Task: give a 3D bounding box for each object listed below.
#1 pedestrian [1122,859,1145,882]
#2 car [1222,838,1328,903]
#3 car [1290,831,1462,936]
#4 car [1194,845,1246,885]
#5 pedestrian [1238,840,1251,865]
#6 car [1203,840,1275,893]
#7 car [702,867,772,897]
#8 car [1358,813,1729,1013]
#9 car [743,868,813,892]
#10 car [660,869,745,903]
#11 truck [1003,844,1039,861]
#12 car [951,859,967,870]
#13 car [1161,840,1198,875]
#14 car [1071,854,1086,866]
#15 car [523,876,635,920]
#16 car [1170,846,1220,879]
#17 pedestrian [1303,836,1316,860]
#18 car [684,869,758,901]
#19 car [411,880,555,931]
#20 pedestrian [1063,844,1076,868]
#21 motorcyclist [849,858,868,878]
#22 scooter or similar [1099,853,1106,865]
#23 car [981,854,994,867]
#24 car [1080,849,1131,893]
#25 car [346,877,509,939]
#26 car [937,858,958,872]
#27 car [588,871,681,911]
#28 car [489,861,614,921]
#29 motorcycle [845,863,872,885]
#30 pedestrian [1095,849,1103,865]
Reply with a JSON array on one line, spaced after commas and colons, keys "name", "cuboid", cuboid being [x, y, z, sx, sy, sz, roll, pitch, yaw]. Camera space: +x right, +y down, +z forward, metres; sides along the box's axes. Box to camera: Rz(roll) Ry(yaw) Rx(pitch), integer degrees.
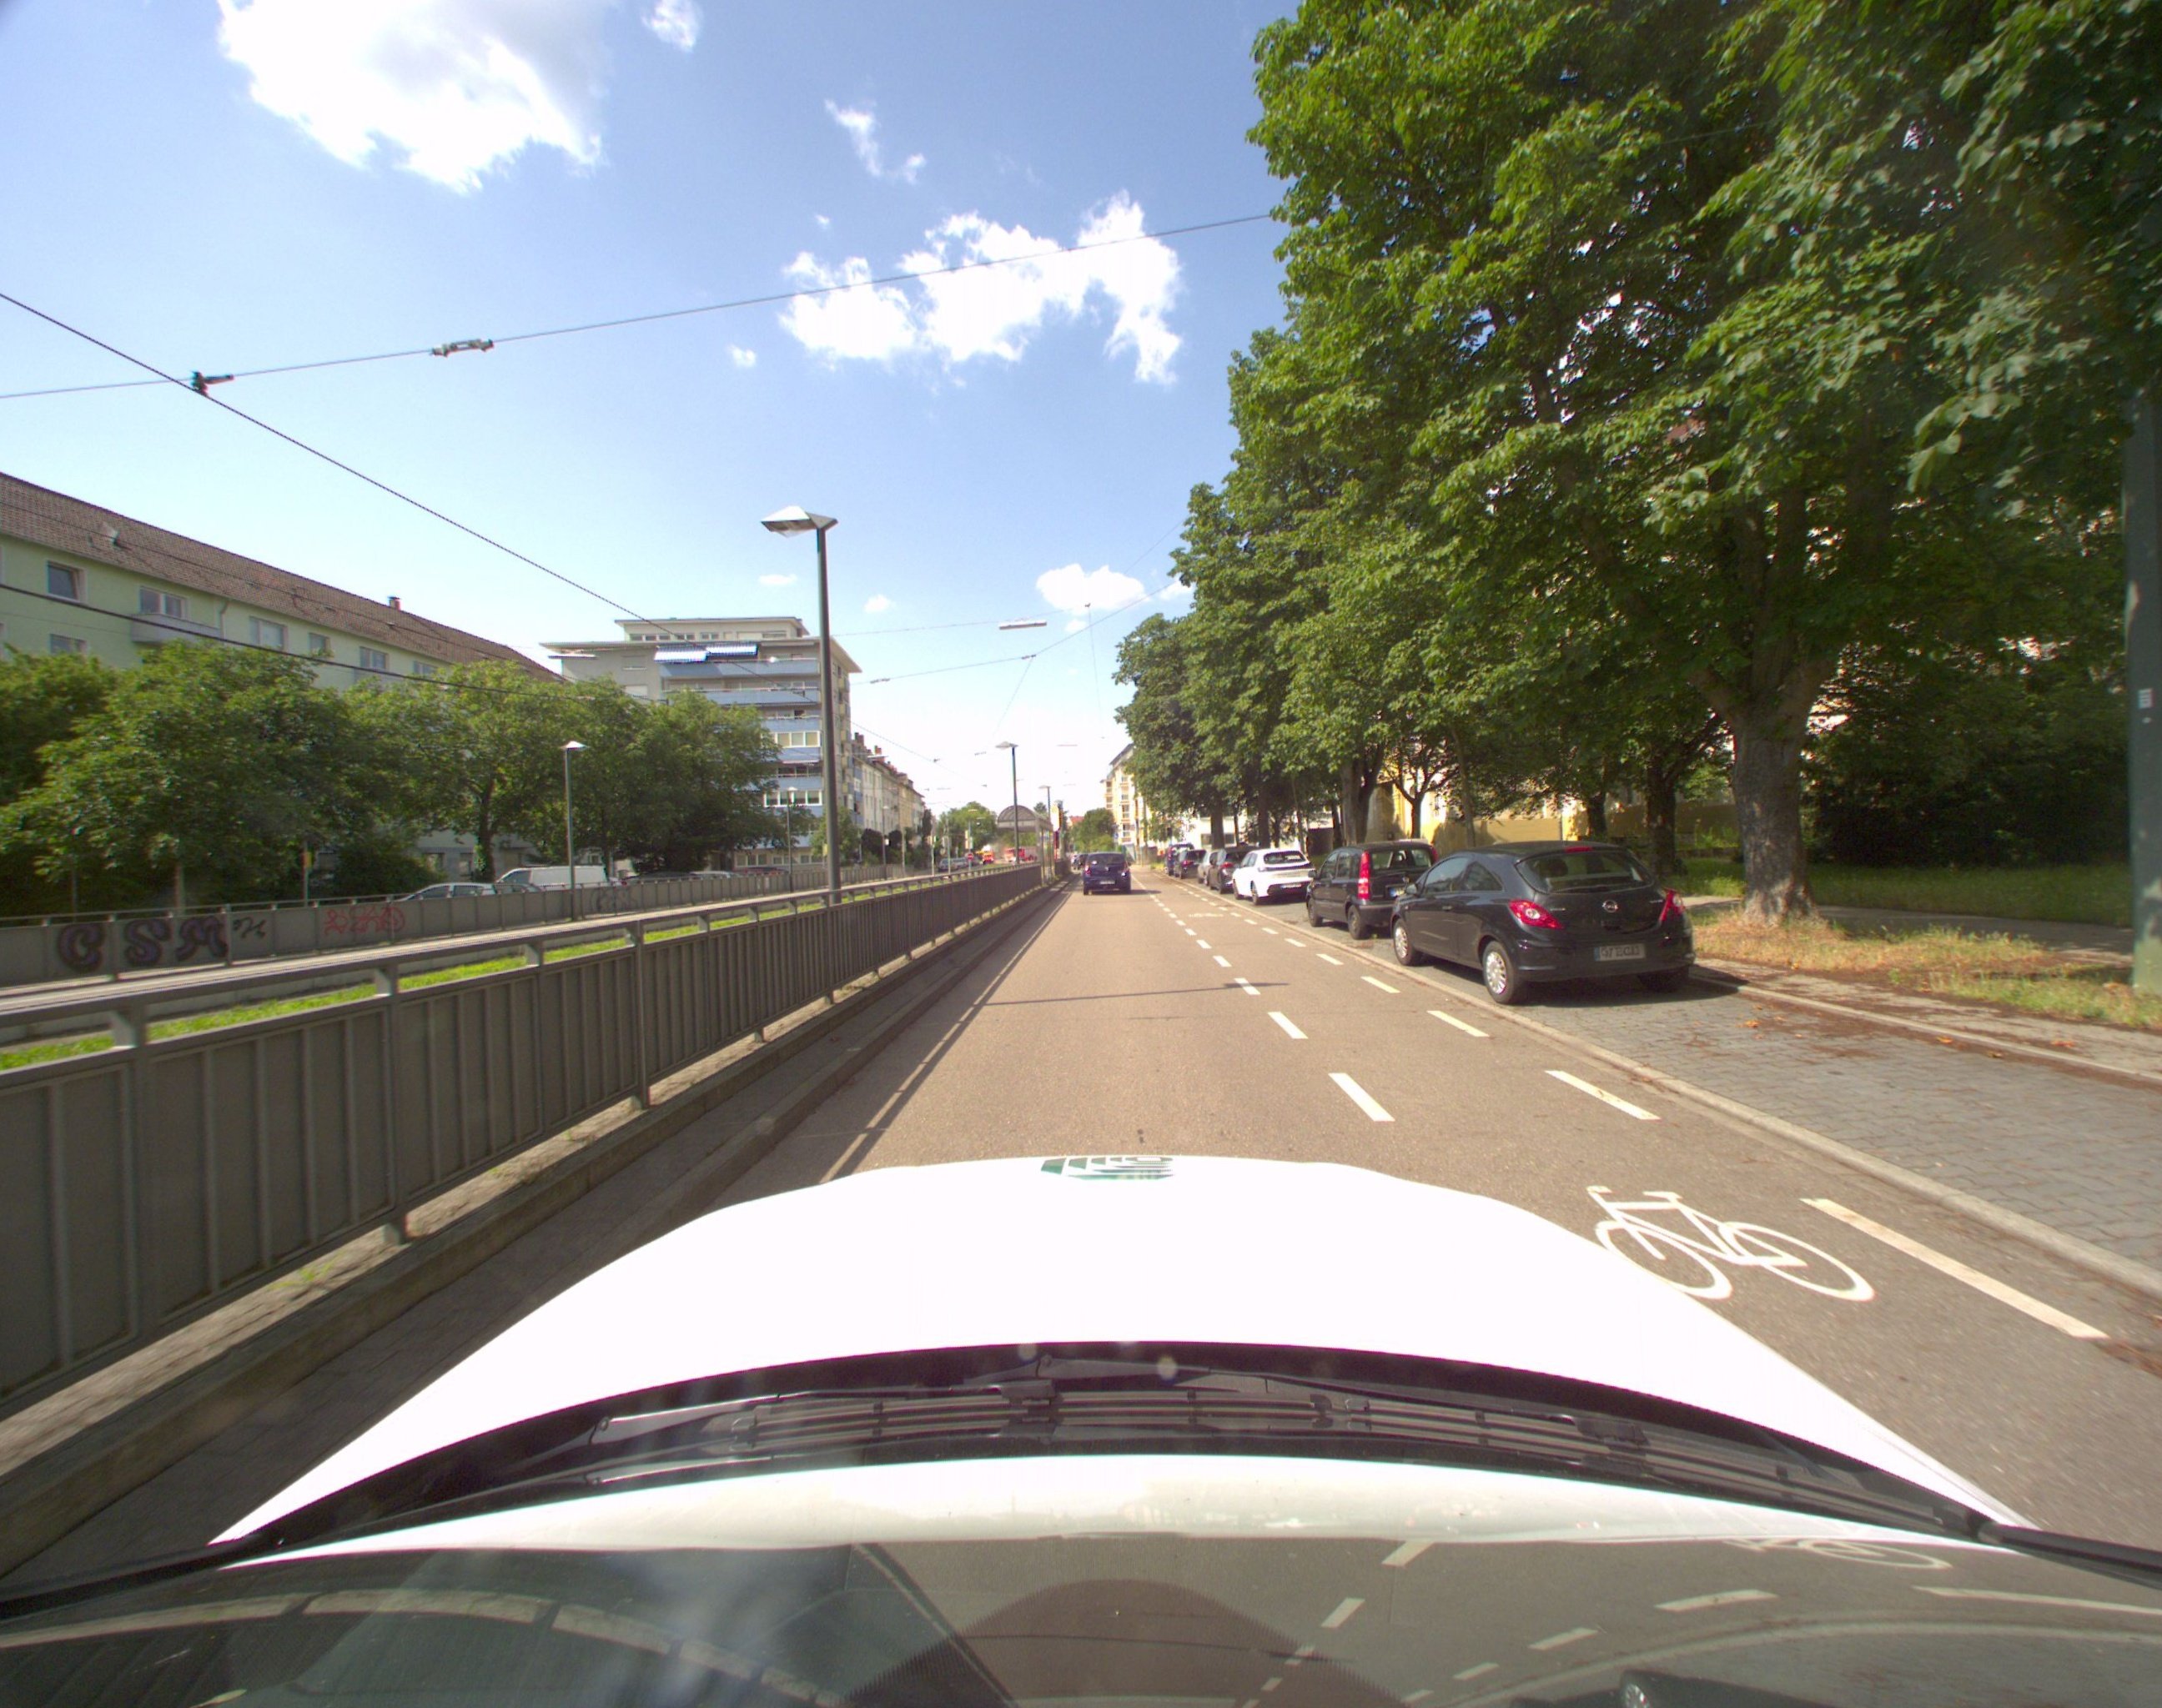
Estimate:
[{"name": "pedestrian", "cuboid": [4.839, 1.490, 75.313, 1.986, 2.014, 4.002, -1, -1, 2]}, {"name": "car", "cuboid": [5.350, 0.431, 23.069, 1.830, 1.523, 4.251, -5, 0, -1]}, {"name": "car", "cuboid": [5.004, 0.475, 14.332, 1.551, 1.461, 3.557, -6, -1, -1]}, {"name": "car", "cuboid": [5.753, 0.437, 34.079, 1.584, 1.445, 3.599, -4, 0, 2]}, {"name": "pedestrian", "cuboid": [11.265, -0.090, 56.106, 0.741, 1.696, 0.767, -3, 0, 2]}, {"name": "car", "cuboid": [5.461, 0.395, 28.670, 1.718, 1.583, 4.680, -4, 0, 2]}, {"name": "car", "cuboid": [-20.742, 1.678, 49.163, 3.678, 1.579, 1.633, -3, 0, -30]}, {"name": "car", "cuboid": [4.700, 0.497, 9.138, 1.684, 1.561, 4.309, -5, 0, 2]}, {"name": "car", "cuboid": [-20.368, 1.722, 54.814, 4.154, 1.394, 1.591, -3, 0, -37]}, {"name": "car", "cuboid": [-20.478, 1.700, 44.072, 4.039, 1.514, 1.594, -3, 0, -29]}, {"name": "truck", "cuboid": [-12.882, -0.262, 176.688, 2.571, 3.185, 8.437, -4, 0, 38]}, {"name": "car", "cuboid": [-17.133, 1.499, 114.427, 1.765, 1.442, 3.994, -1, -1, -4]}, {"name": "car", "cuboid": [5.820, 0.159, 48.444, 1.815, 1.896, 4.187, -4, 1, 3]}, {"name": "car", "cuboid": [-0.302, 0.717, 98.513, 1.618, 1.465, 3.507, -1, -1, -3]}, {"name": "car", "cuboid": [-21.519, 1.848, 35.041, 3.964, 1.579, 1.702, -3, 0, -31]}, {"name": "car", "cuboid": [5.961, 0.406, 43.082, 1.911, 1.442, 4.797, -5, 0, 0]}, {"name": "pedestrian", "cuboid": [15.756, -0.429, 56.154, 0.629, 1.596, 0.539, -3, -1, -2]}, {"name": "car", "cuboid": [-20.642, 1.765, 46.679, 3.678, 1.579, 1.633, -3, 0, -30]}, {"name": "car", "cuboid": [-21.471, 1.798, 29.458, 4.014, 1.485, 1.593, -3, 0, -32]}, {"name": "pedestrian", "cuboid": [-0.856, 0.140, 59.668, 0.843, 1.667, 0.798, -3, -1, -1]}, {"name": "motorcyclist", "cuboid": [-15.156, 0.938, 55.466, 0.935, 1.339, 0.987, -3, 0, 2]}, {"name": "scooter or similar", "cuboid": [2.470, 0.600, 94.999, 0.661, 1.303, 0.867, -6, 0, -3]}, {"name": "car", "cuboid": [-17.225, 1.146, 149.754, 1.994, 2.275, 4.815, 1, 0, -11]}, {"name": "car", "cuboid": [0.899, 0.605, 30.051, 1.738, 1.507, 4.001, -1, -1, 1]}, {"name": "car", "cuboid": [-21.275, 1.704, 26.759, 4.018, 1.639, 1.807, -3, 2, -36]}, {"name": "car", "cuboid": [-16.112, 1.352, 98.468, 1.988, 1.645, 3.996, -1, -1, -2]}, {"name": "car", "cuboid": [-20.864, 1.699, 38.147, 3.678, 1.579, 1.633, -3, 0, -30]}, {"name": "car", "cuboid": [-20.961, 1.433, 32.468, 3.964, 2.070, 2.030, -3, 0, -30]}, {"name": "motorcycle", "cuboid": [-15.101, 1.343, 55.373, 1.011, 1.339, 2.518, -3, 0, 2]}, {"name": "pedestrian", "cuboid": [2.066, 0.336, 95.856, 0.699, 1.789, 1.029, -5, 0, -3]}]
